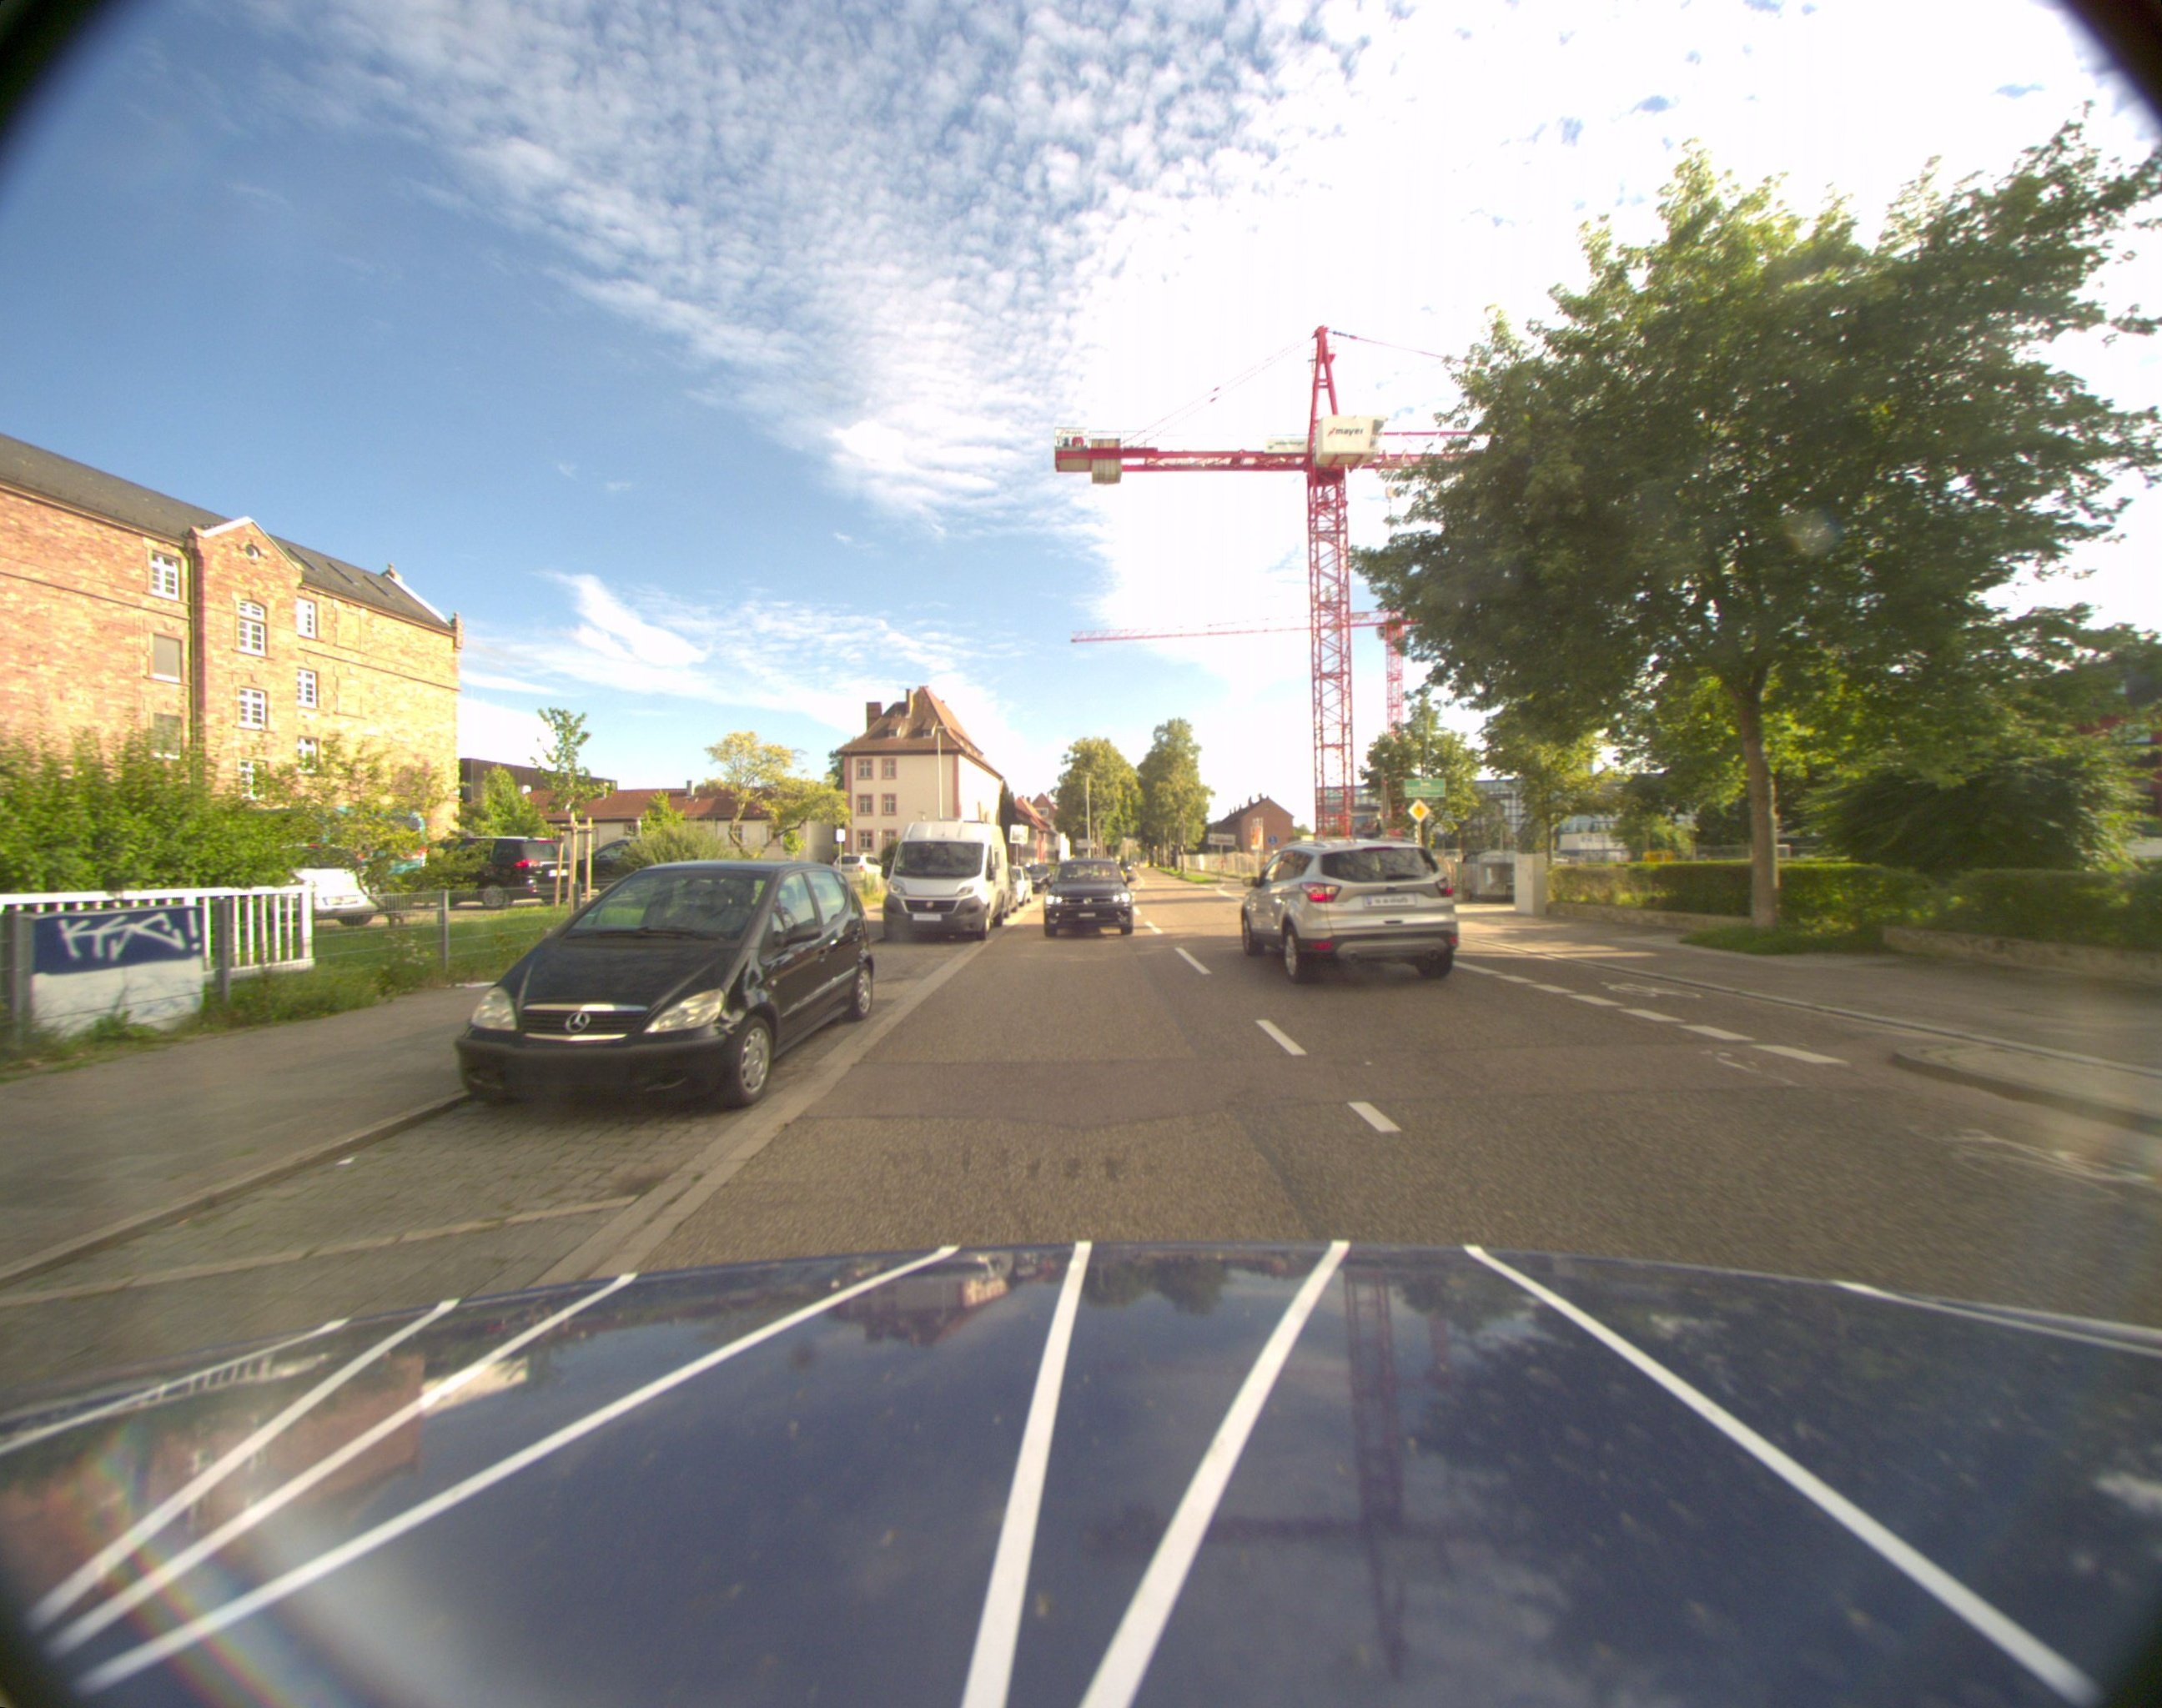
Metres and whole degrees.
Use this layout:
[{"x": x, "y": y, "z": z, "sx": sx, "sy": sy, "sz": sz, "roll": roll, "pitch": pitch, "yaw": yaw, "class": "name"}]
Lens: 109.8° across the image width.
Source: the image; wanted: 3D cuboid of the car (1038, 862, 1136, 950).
[{"x": 0.262, "y": 1.038, "z": 16.849, "sx": 1.859, "sy": 1.673, "sz": 4.002, "roll": -2, "pitch": 0, "yaw": 4, "class": "car"}]

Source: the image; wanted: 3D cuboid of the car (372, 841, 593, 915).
[{"x": -13.672, "y": 0.544, "z": 17.480, "sx": 3.793, "sy": 1.555, "sz": 1.872, "roll": -1, "pitch": 0, "yaw": 9, "class": "car"}]

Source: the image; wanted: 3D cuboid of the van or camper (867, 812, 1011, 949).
[{"x": -2.931, "y": 0.527, "z": 17.200, "sx": 2.165, "sy": 2.512, "sz": 5.914, "roll": 1, "pitch": 0, "yaw": -1, "class": "van or camper"}]

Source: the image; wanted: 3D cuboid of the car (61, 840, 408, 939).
[{"x": -13.837, "y": 0.572, "z": 12.549, "sx": 4.084, "sy": 1.473, "sz": 1.872, "roll": -1, "pitch": 0, "yaw": 9, "class": "car"}]

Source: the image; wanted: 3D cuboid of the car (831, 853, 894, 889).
[{"x": -11.112, "y": 0.844, "z": 38.941, "sx": 1.888, "sy": 1.709, "sz": 4.092, "roll": 0, "pitch": 0, "yaw": 2, "class": "car"}]

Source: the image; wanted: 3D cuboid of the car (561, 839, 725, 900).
[{"x": -12.807, "y": 0.449, "z": 22.345, "sx": 3.794, "sy": 1.649, "sz": 1.872, "roll": -1, "pitch": 0, "yaw": 7, "class": "car"}]

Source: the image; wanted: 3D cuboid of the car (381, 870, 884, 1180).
[{"x": -2.903, "y": 0.953, "z": 6.035, "sx": 1.677, "sy": 1.593, "sz": 3.970, "roll": 0, "pitch": 0, "yaw": -1, "class": "car"}]

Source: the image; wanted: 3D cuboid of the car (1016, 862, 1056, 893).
[{"x": -2.254, "y": 1.152, "z": 39.081, "sx": 1.662, "sy": 1.477, "sz": 4.001, "roll": 1, "pitch": 0, "yaw": 2, "class": "car"}]

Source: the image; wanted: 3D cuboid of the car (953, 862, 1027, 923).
[{"x": -2.713, "y": 1.109, "z": 23.507, "sx": 1.677, "sy": 1.639, "sz": 4.204, "roll": 2, "pitch": 0, "yaw": 1, "class": "car"}]

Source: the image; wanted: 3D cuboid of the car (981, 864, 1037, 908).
[{"x": -2.667, "y": 1.153, "z": 28.972, "sx": 1.662, "sy": 1.477, "sz": 4.000, "roll": 2, "pitch": 0, "yaw": 1, "class": "car"}]

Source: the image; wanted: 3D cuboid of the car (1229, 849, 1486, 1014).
[{"x": 3.277, "y": 0.820, "z": 9.944, "sx": 1.834, "sy": 1.659, "sz": 4.084, "roll": -2, "pitch": 0, "yaw": 0, "class": "car"}]
